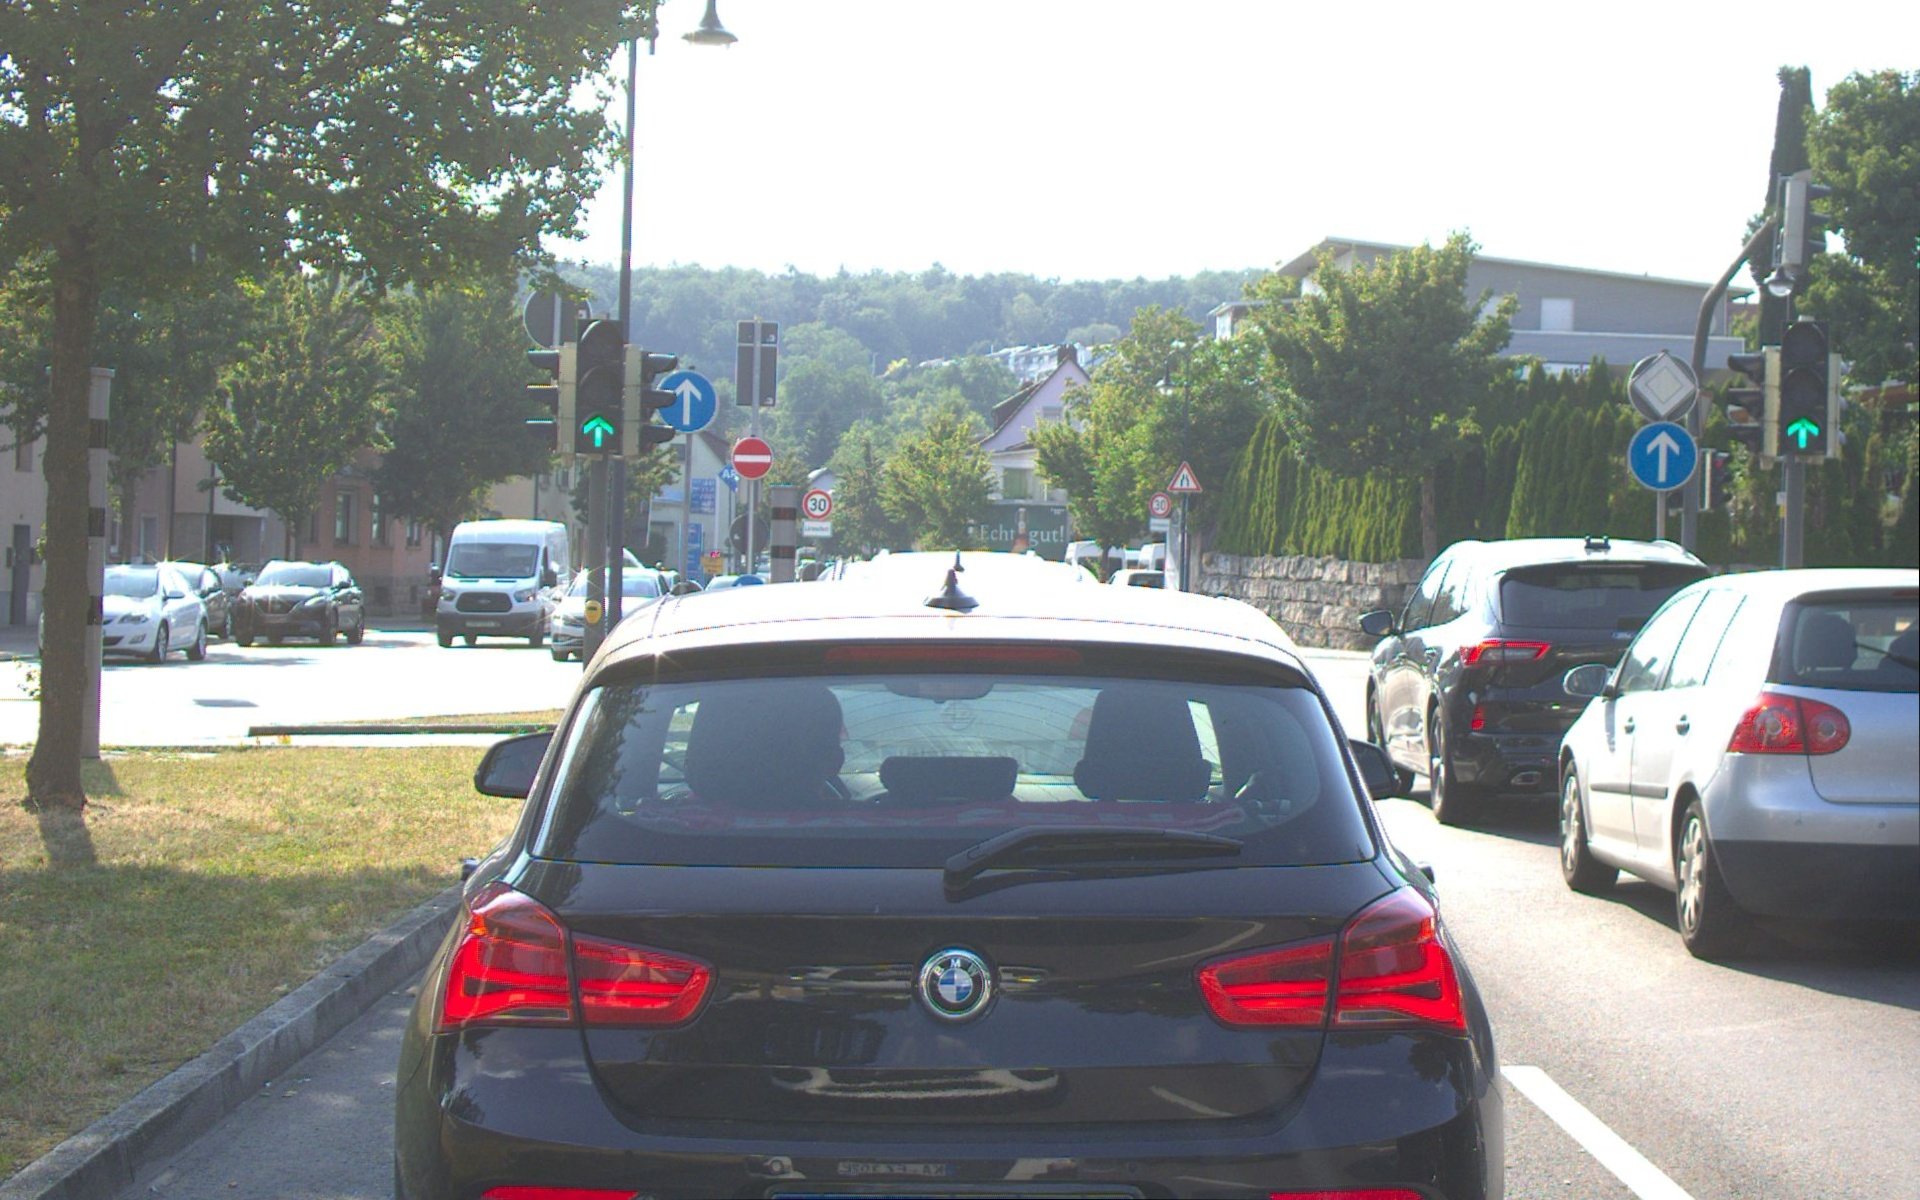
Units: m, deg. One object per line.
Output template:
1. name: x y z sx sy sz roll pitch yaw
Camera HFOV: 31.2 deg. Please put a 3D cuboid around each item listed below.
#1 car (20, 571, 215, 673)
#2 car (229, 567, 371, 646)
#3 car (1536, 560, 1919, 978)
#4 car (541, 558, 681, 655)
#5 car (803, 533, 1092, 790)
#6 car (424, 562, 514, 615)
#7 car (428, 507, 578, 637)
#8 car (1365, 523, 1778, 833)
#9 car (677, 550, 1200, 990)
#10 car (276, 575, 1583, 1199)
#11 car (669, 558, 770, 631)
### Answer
1. car: -12.549 0.301 51.422 1.737 1.296 3.799 5 1 2
2. car: -12.600 0.103 65.827 1.737 1.296 3.799 5 1 2
3. car: 3.559 0.571 14.006 1.761 1.421 3.903 -1 1 0
4. car: -5.590 0.074 55.524 1.839 1.477 4.000 1 1 0
5. car: -0.074 0.348 23.669 1.788 1.588 4.281 -1 1 0
6. car: -13.852 -0.347 97.175 1.737 1.296 3.799 5 1 2
7. car: -8.860 -0.546 67.146 2.084 2.385 5.528 1 1 1
8. car: 3.532 0.389 20.521 1.761 1.650 3.903 -1 1 0
9. car: -0.071 0.557 14.014 1.788 1.488 4.281 -1 1 0
10. car: -0.035 0.678 6.868 1.788 1.393 4.281 -1 1 0
11. car: -5.087 -0.147 73.094 1.839 1.477 4.000 1 1 0
